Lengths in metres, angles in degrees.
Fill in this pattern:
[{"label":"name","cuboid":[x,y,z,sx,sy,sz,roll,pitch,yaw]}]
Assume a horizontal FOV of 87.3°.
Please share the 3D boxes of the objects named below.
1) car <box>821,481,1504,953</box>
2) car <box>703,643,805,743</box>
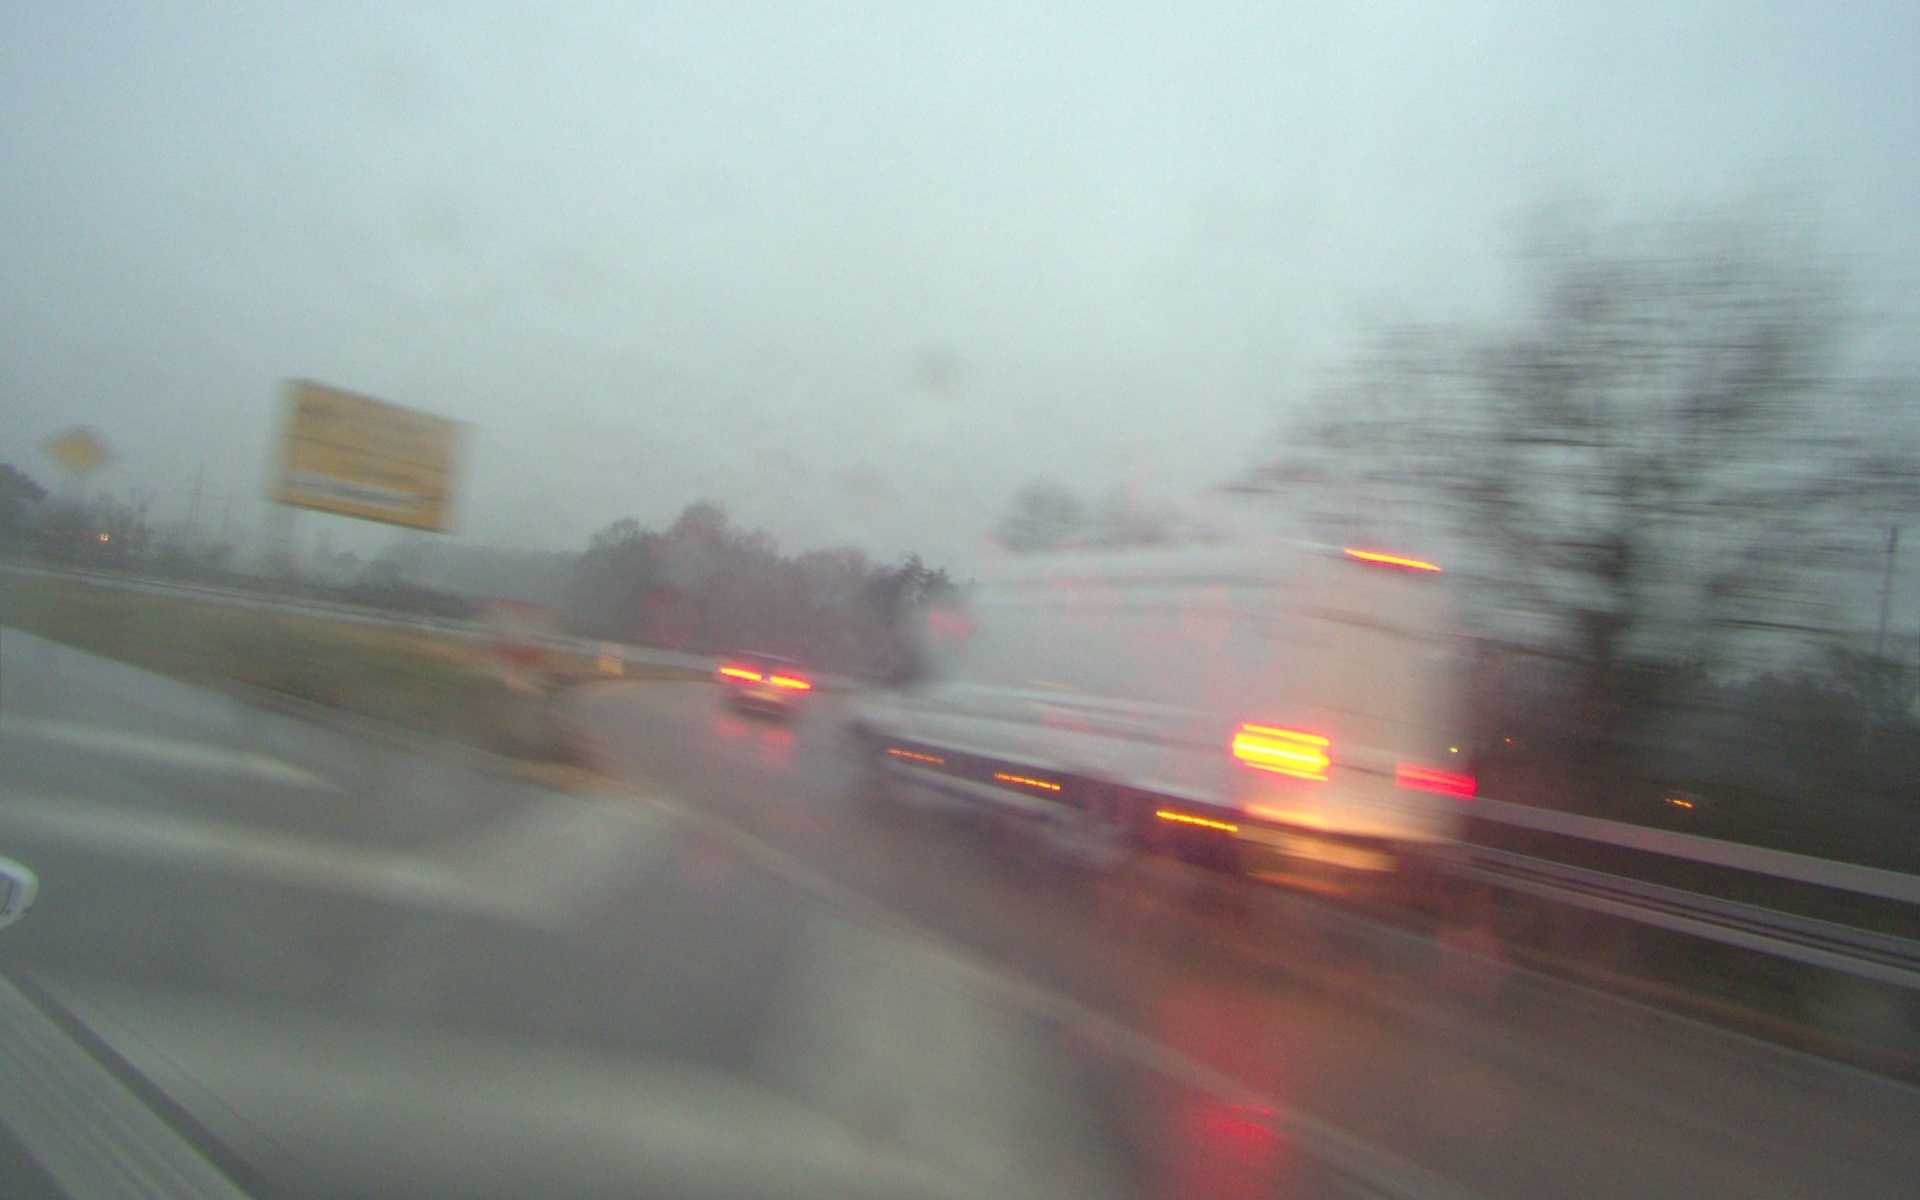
[{"label":"car","cuboid":[1.276,0.828,9.638,2.270,2.996,6.337,11,-4,-33]},{"label":"car","cuboid":[-5.013,2.188,24.867,1.968,1.955,4.905,9,-4,-10]}]
